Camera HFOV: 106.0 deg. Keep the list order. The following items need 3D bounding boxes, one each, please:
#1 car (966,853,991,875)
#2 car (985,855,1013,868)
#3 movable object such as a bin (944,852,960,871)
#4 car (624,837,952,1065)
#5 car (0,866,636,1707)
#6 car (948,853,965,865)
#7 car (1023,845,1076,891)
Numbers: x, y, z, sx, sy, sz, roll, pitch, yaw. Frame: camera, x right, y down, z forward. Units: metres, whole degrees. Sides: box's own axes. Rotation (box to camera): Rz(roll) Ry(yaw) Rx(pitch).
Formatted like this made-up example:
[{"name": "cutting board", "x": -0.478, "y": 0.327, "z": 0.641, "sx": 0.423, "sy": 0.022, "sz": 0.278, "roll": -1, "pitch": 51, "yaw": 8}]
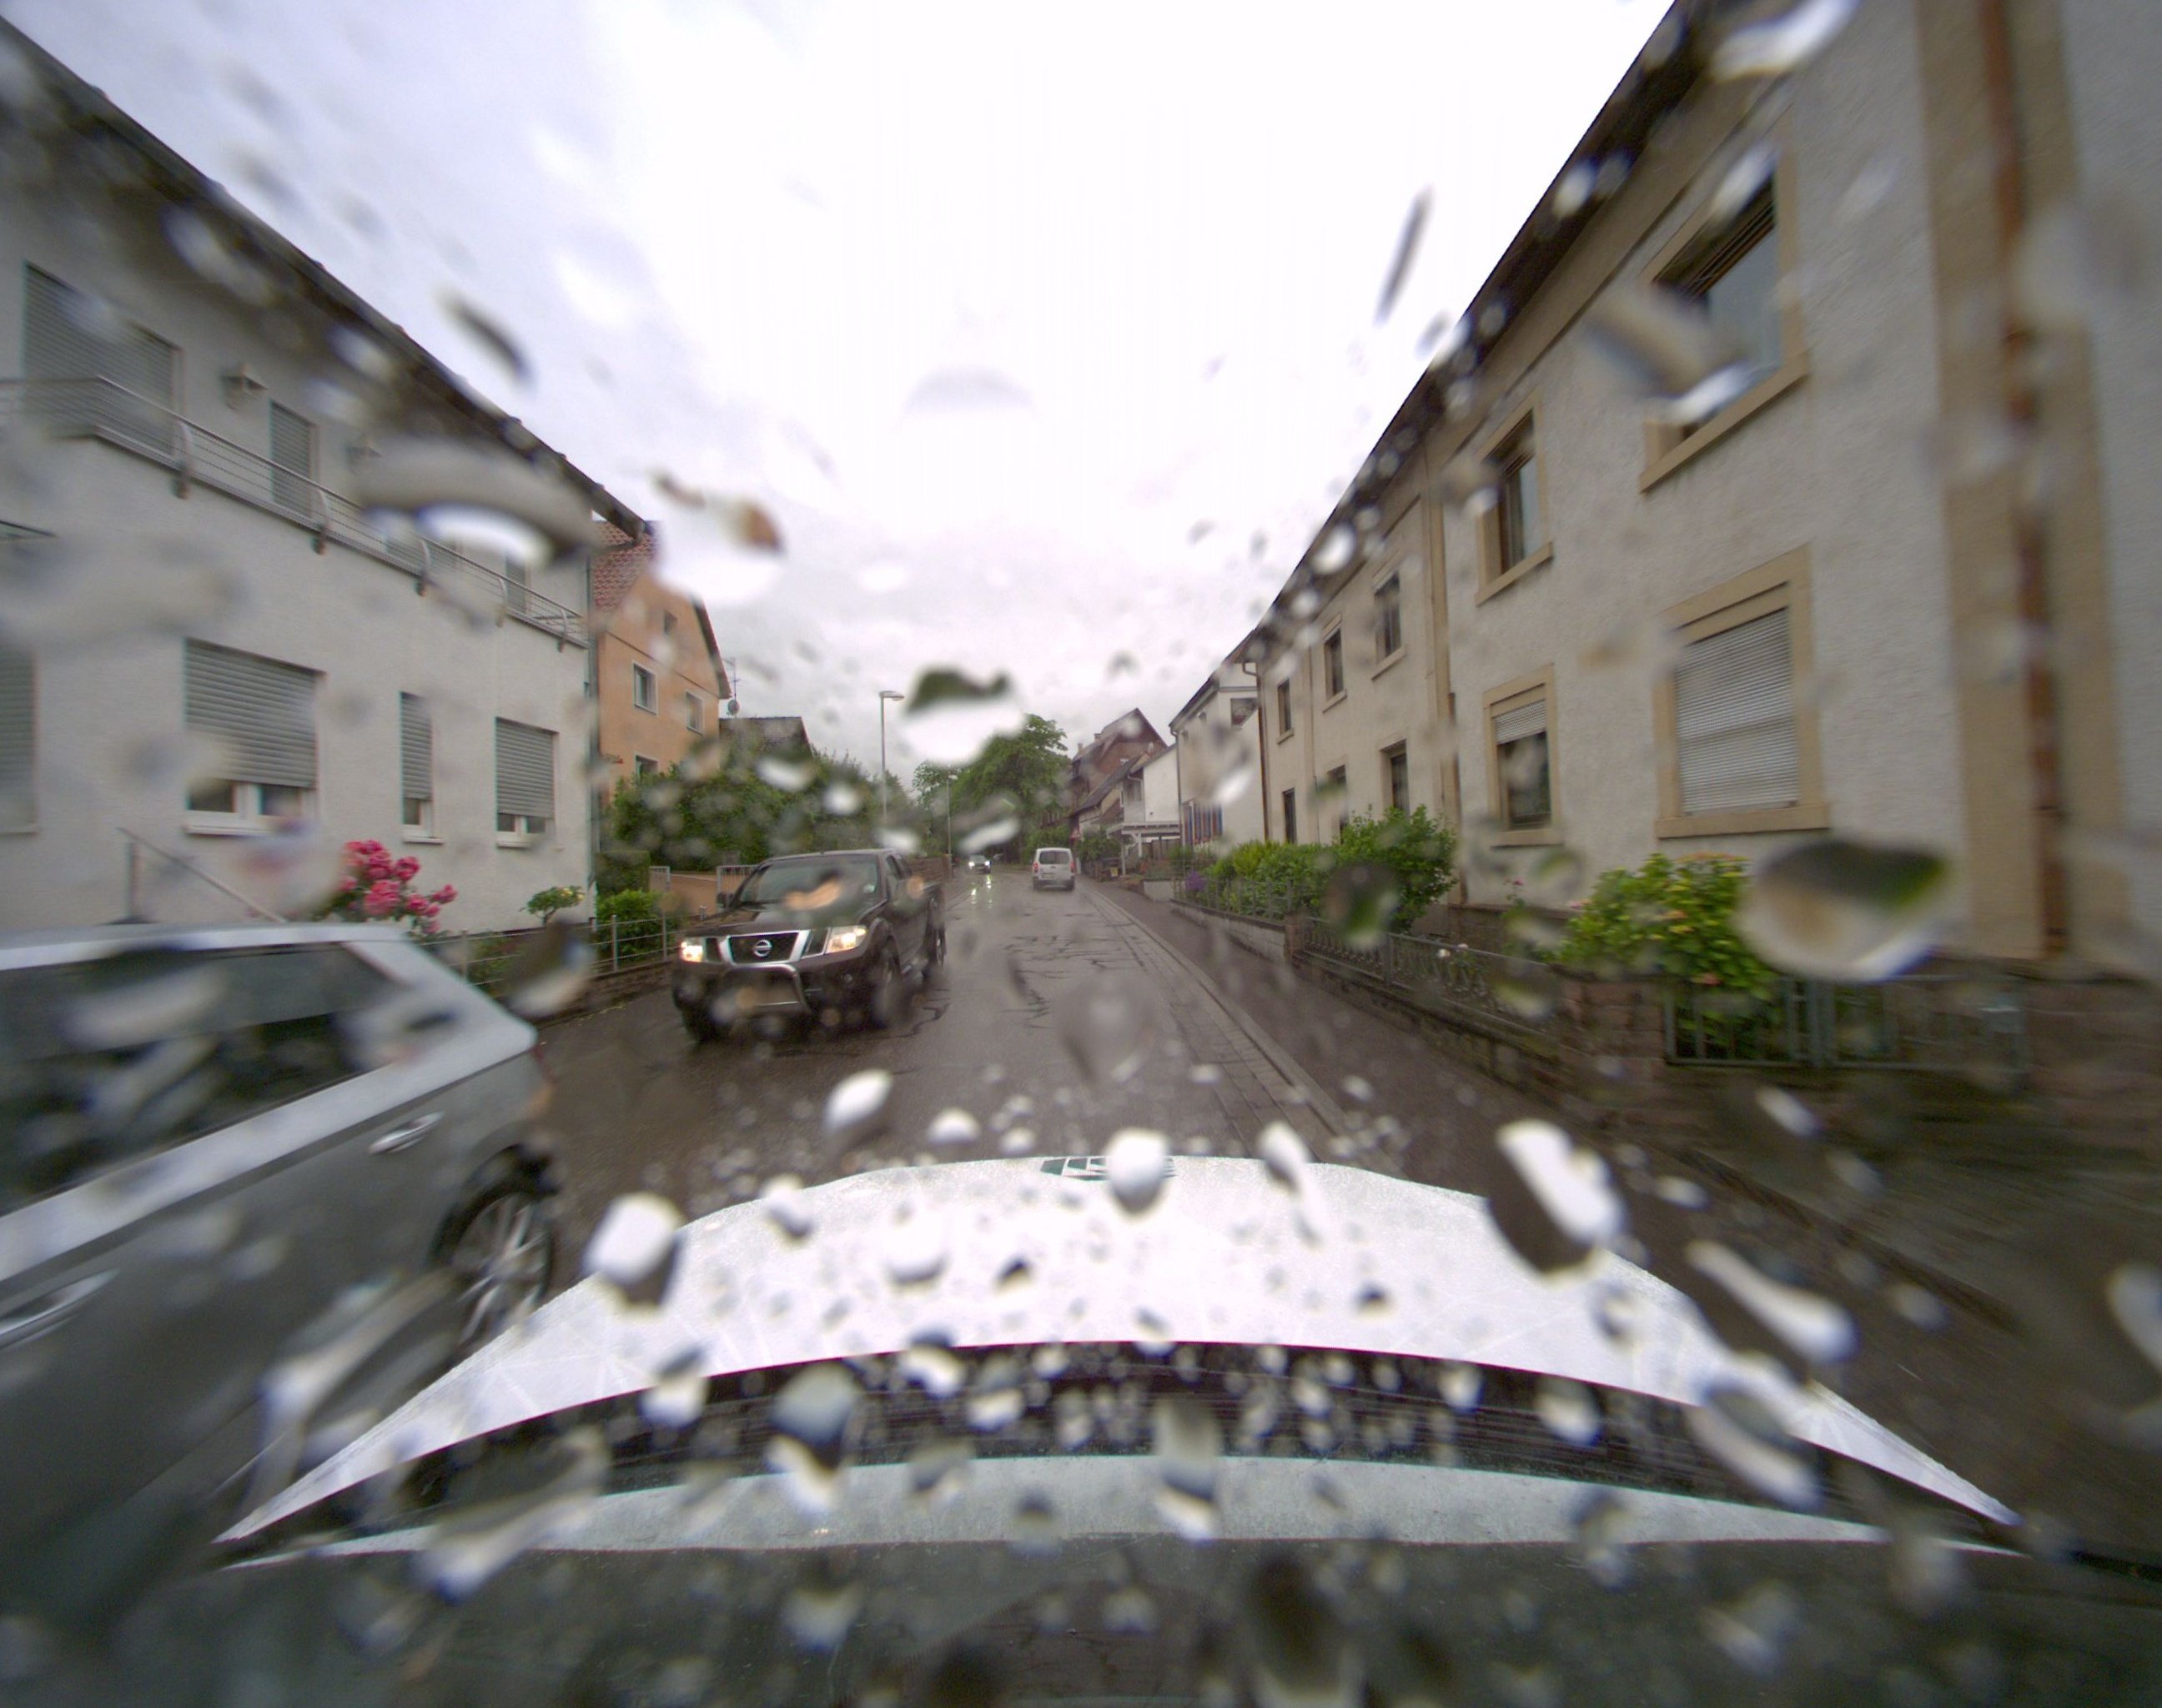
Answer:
[{"name": "car", "x": -8.219, "y": 0.785, "z": 65.220, "sx": 1.700, "sy": 1.546, "sz": 3.837, "roll": -5, "pitch": 1, "yaw": -10}, {"name": "car", "x": -10.967, "y": 0.963, "z": 109.353, "sx": 1.601, "sy": 1.551, "sz": 3.636, "roll": -4, "pitch": -1, "yaw": 38}, {"name": "movable object such as a bin", "x": -17.421, "y": 1.031, "z": 110.187, "sx": 1.763, "sy": 2.548, "sz": 4.219, "roll": -1, "pitch": -1, "yaw": -13}, {"name": "car", "x": -2.740, "y": 0.781, "z": 9.082, "sx": 1.830, "sy": 1.673, "sz": 5.193, "roll": -4, "pitch": 0, "yaw": -2}, {"name": "car", "x": -2.517, "y": 0.886, "z": 1.275, "sx": 1.575, "sy": 1.481, "sz": 3.713, "roll": -5, "pitch": 1, "yaw": -2}, {"name": "car", "x": -14.964, "y": 0.612, "z": 98.077, "sx": 1.710, "sy": 1.377, "sz": 3.982, "roll": -2, "pitch": -1, "yaw": -13}, {"name": "car", "x": -1.451, "y": 0.585, "z": 35.973, "sx": 1.895, "sy": 1.807, "sz": 3.989, "roll": -3, "pitch": 1, "yaw": -8}]
